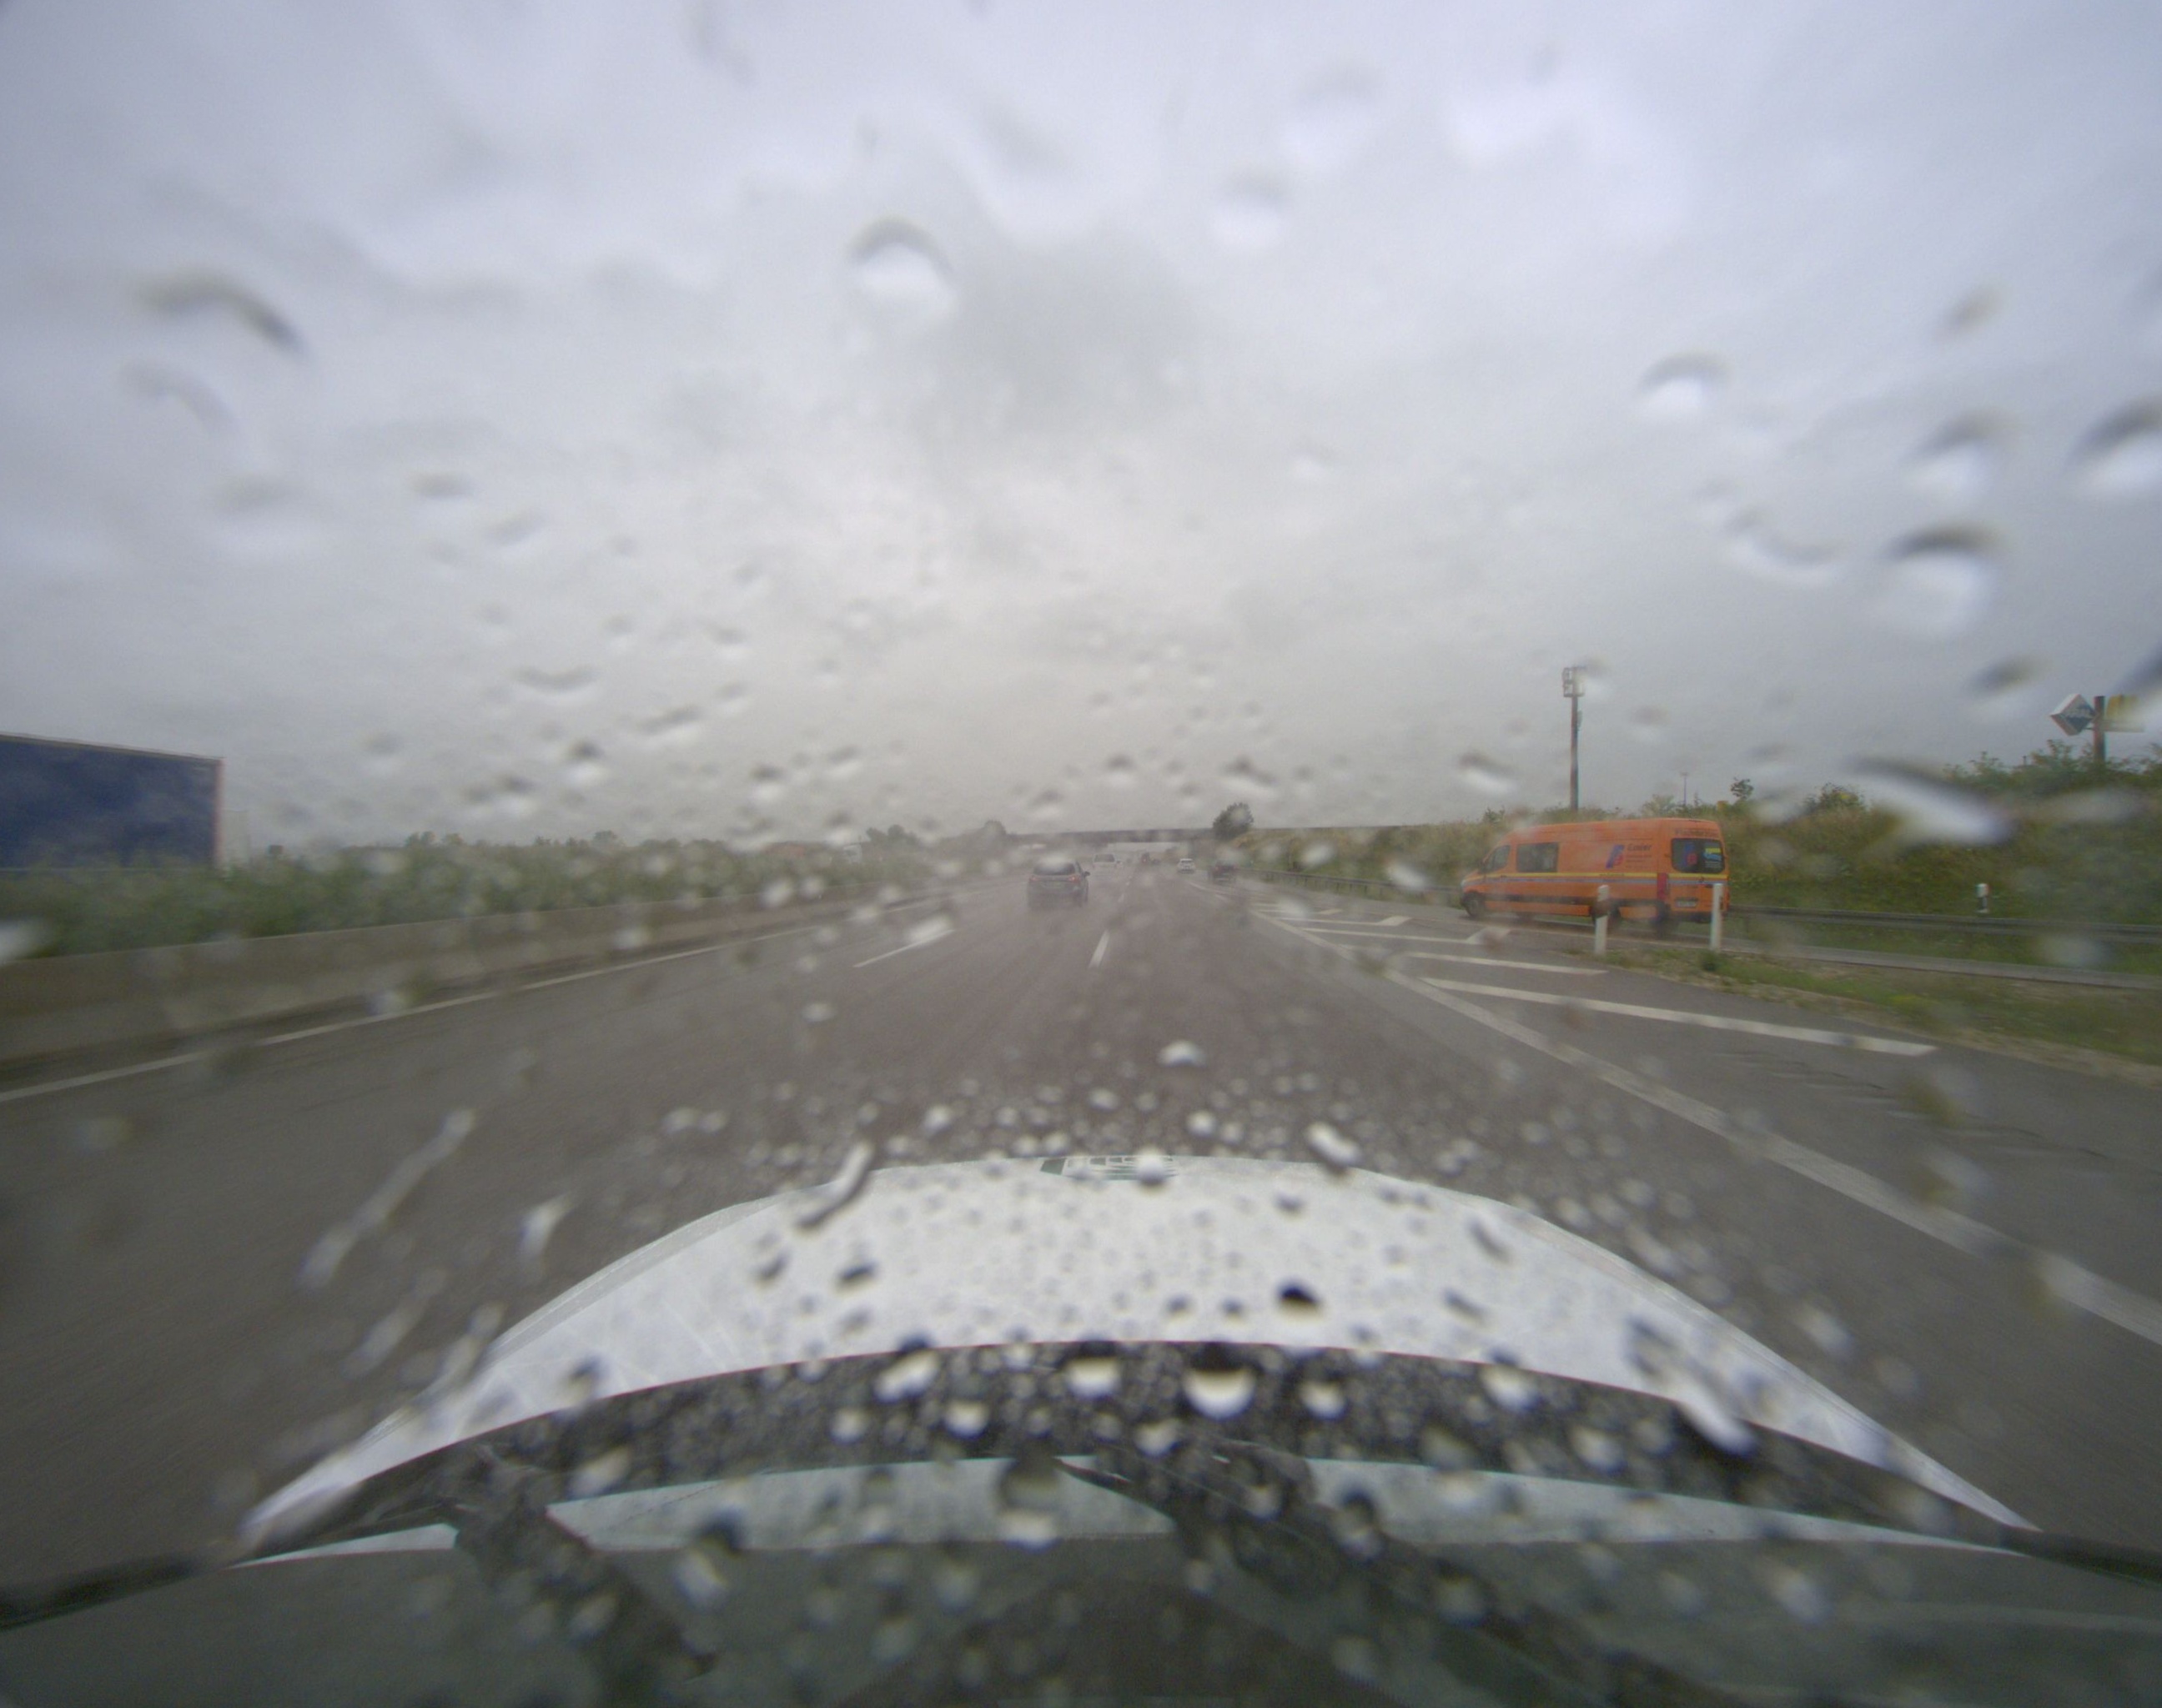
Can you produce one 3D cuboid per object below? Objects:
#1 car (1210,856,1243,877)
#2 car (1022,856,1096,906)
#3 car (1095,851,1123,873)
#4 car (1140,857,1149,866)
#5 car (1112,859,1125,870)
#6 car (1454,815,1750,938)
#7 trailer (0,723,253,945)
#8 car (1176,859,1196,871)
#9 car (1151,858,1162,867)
[{"bbox_3d":[10.166,0.838,56.960,1.725,1.421,3.659,-1,0,1],"label":"car"},{"bbox_3d":[-0.638,0.865,27.813,1.837,1.513,4.765,-1,-1,6],"label":"car"},{"bbox_3d":[2.148,0.632,61.262,1.889,1.585,4.004,-1,-1,4],"label":"car"},{"bbox_3d":[15.666,1.835,199.924,1.986,2.101,4.001,-1,-1,1],"label":"car"},{"bbox_3d":[4.417,1.257,95.948,1.461,1.208,2.995,0,0,4],"label":"car"},{"bbox_3d":[12.831,0.489,20.919,2.064,2.615,6.851,1,0,-15],"label":"car"},{"bbox_3d":[-20.517,-0.346,11.869,2.425,3.939,13.504,-1,-1,4],"label":"trailer"},{"bbox_3d":[11.057,1.159,85.569,1.983,1.266,4.006,-1,-1,6],"label":"car"},{"bbox_3d":[13.535,1.561,146.172,1.794,1.508,4.001,-1,-1,2],"label":"car"}]
